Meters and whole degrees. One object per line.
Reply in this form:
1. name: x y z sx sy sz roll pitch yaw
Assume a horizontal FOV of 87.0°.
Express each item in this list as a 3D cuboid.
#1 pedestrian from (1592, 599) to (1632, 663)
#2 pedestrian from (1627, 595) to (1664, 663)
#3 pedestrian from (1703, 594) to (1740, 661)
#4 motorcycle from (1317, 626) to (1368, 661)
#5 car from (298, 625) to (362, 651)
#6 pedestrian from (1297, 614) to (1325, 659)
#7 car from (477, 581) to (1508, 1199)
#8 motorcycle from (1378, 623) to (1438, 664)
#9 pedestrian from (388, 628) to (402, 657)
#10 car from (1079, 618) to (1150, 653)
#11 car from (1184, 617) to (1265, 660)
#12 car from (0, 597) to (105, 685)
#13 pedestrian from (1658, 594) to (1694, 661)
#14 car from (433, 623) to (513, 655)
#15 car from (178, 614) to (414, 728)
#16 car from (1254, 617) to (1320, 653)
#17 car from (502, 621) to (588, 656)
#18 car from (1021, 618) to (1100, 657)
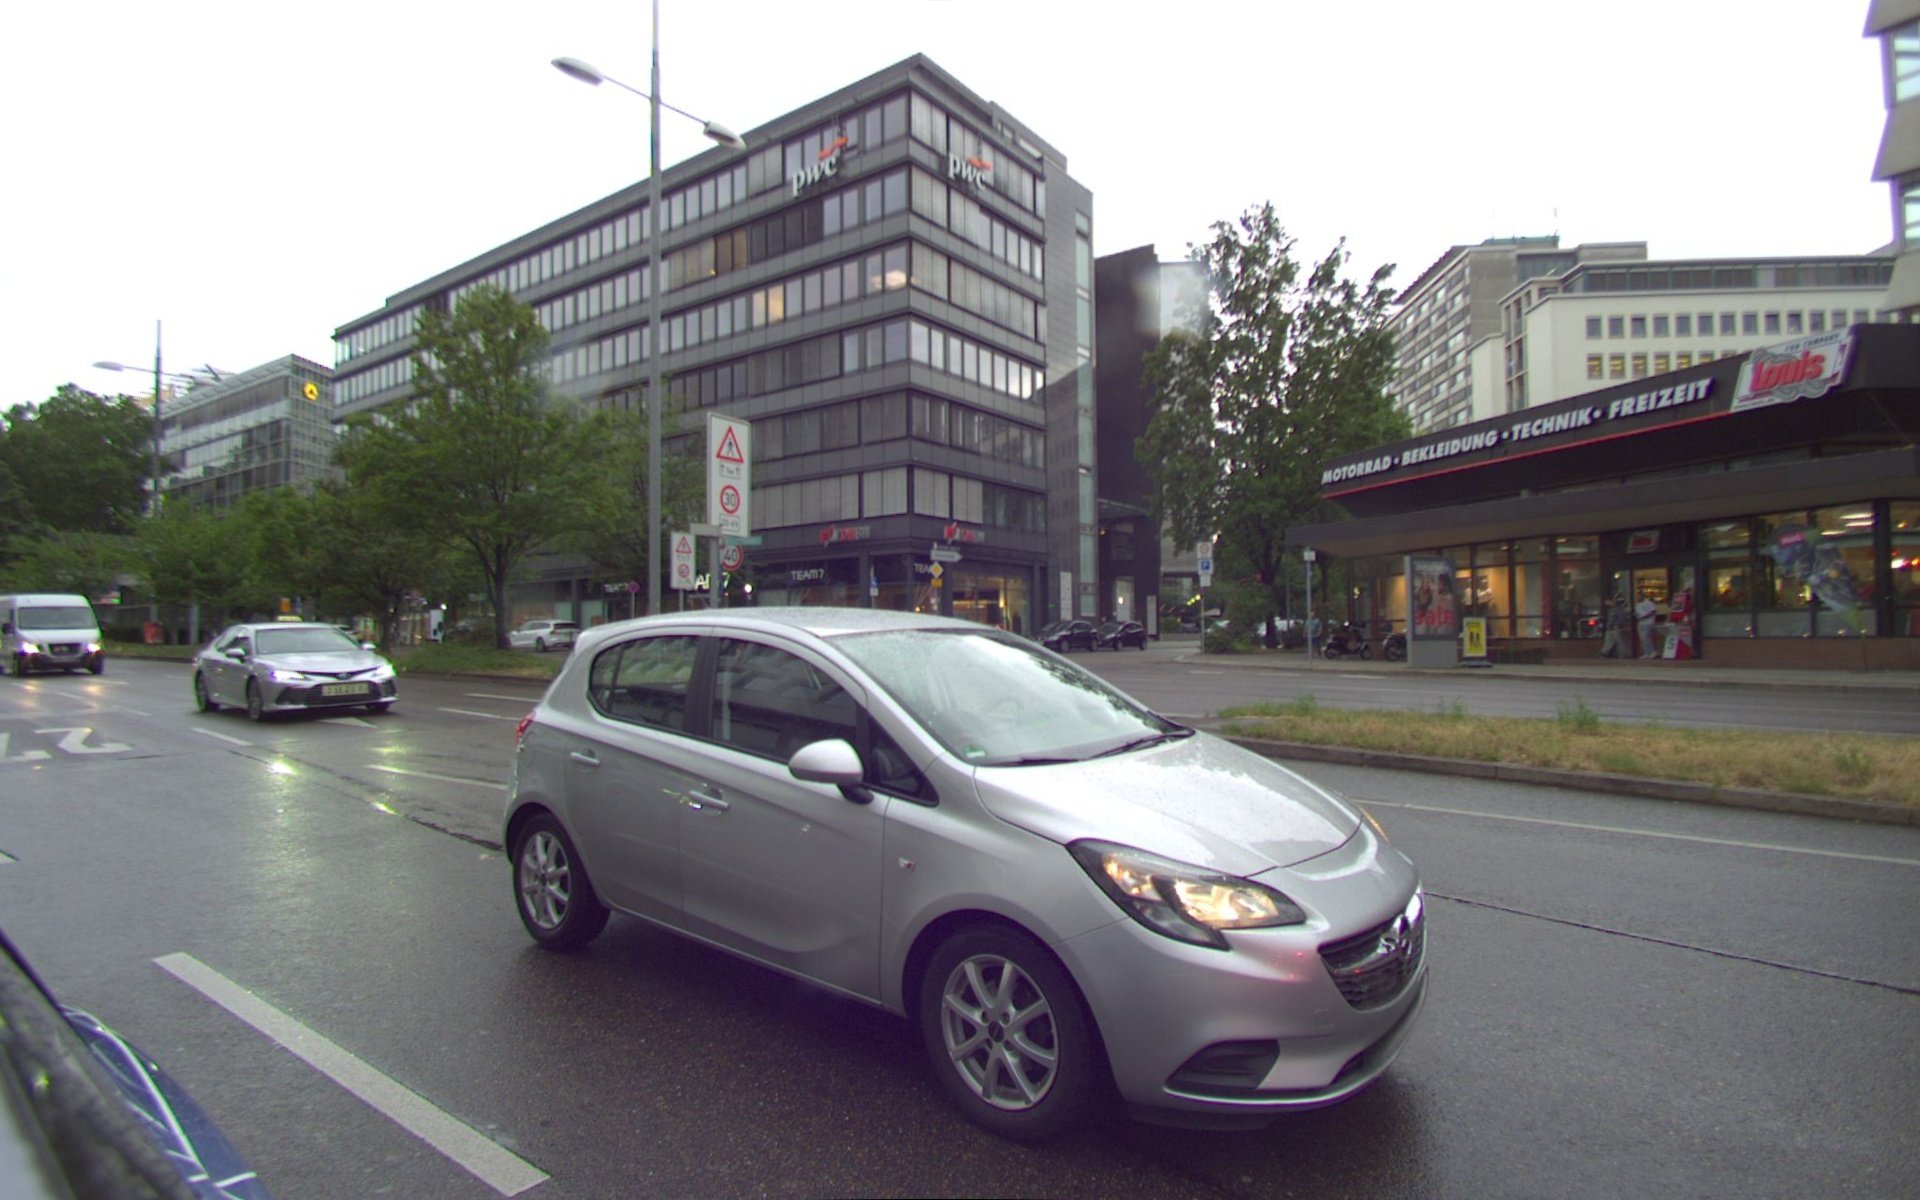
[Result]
1. pedestrian: 16.962 0.799 26.323 0.605 1.623 0.614 0 -1 -29
2. pedestrian: 18.027 0.746 26.607 0.605 1.757 0.560 0 -1 -29
3. pedestrian: 20.081 0.719 26.699 0.532 1.757 0.560 0 -1 -29
4. motorcycle: 12.965 1.458 34.293 1.600 1.153 0.360 -1 -1 -8
5. car: -37.942 2.288 60.928 3.992 1.518 1.975 -2 -1 36
6. pedestrian: 13.381 1.391 38.591 0.688 1.661 0.735 0 -1 -35
7. car: -0.191 0.723 3.984 3.872 1.446 1.631 -2 -1 40
8. motorcycle: 13.833 1.346 31.239 1.646 1.242 0.360 -1 -1 2
9. pedestrian: -38.938 2.923 69.744 0.500 2.029 0.681 -2 -1 38
10. car: 7.575 1.717 49.481 1.847 1.596 3.716 -2 -1 37
11. car: 10.668 1.506 40.652 1.847 1.596 3.716 -2 -1 37
12. car: -27.773 1.198 30.678 5.475 2.459 1.927 -2 -1 40
13. pedestrian: 19.124 0.731 27.028 0.532 1.757 0.560 0 -1 -29
14. car: -24.597 1.968 51.116 4.100 1.518 1.975 -2 -1 36
15. car: -10.804 1.053 16.323 4.772 1.545 1.847 -2 -1 40
16. car: 15.566 1.628 48.052 1.847 1.596 3.716 -2 -1 37
17. car: -19.409 1.786 47.265 3.992 1.518 1.975 -2 -1 36
18. car: 4.541 1.660 45.485 1.847 1.596 3.716 -2 -1 37
